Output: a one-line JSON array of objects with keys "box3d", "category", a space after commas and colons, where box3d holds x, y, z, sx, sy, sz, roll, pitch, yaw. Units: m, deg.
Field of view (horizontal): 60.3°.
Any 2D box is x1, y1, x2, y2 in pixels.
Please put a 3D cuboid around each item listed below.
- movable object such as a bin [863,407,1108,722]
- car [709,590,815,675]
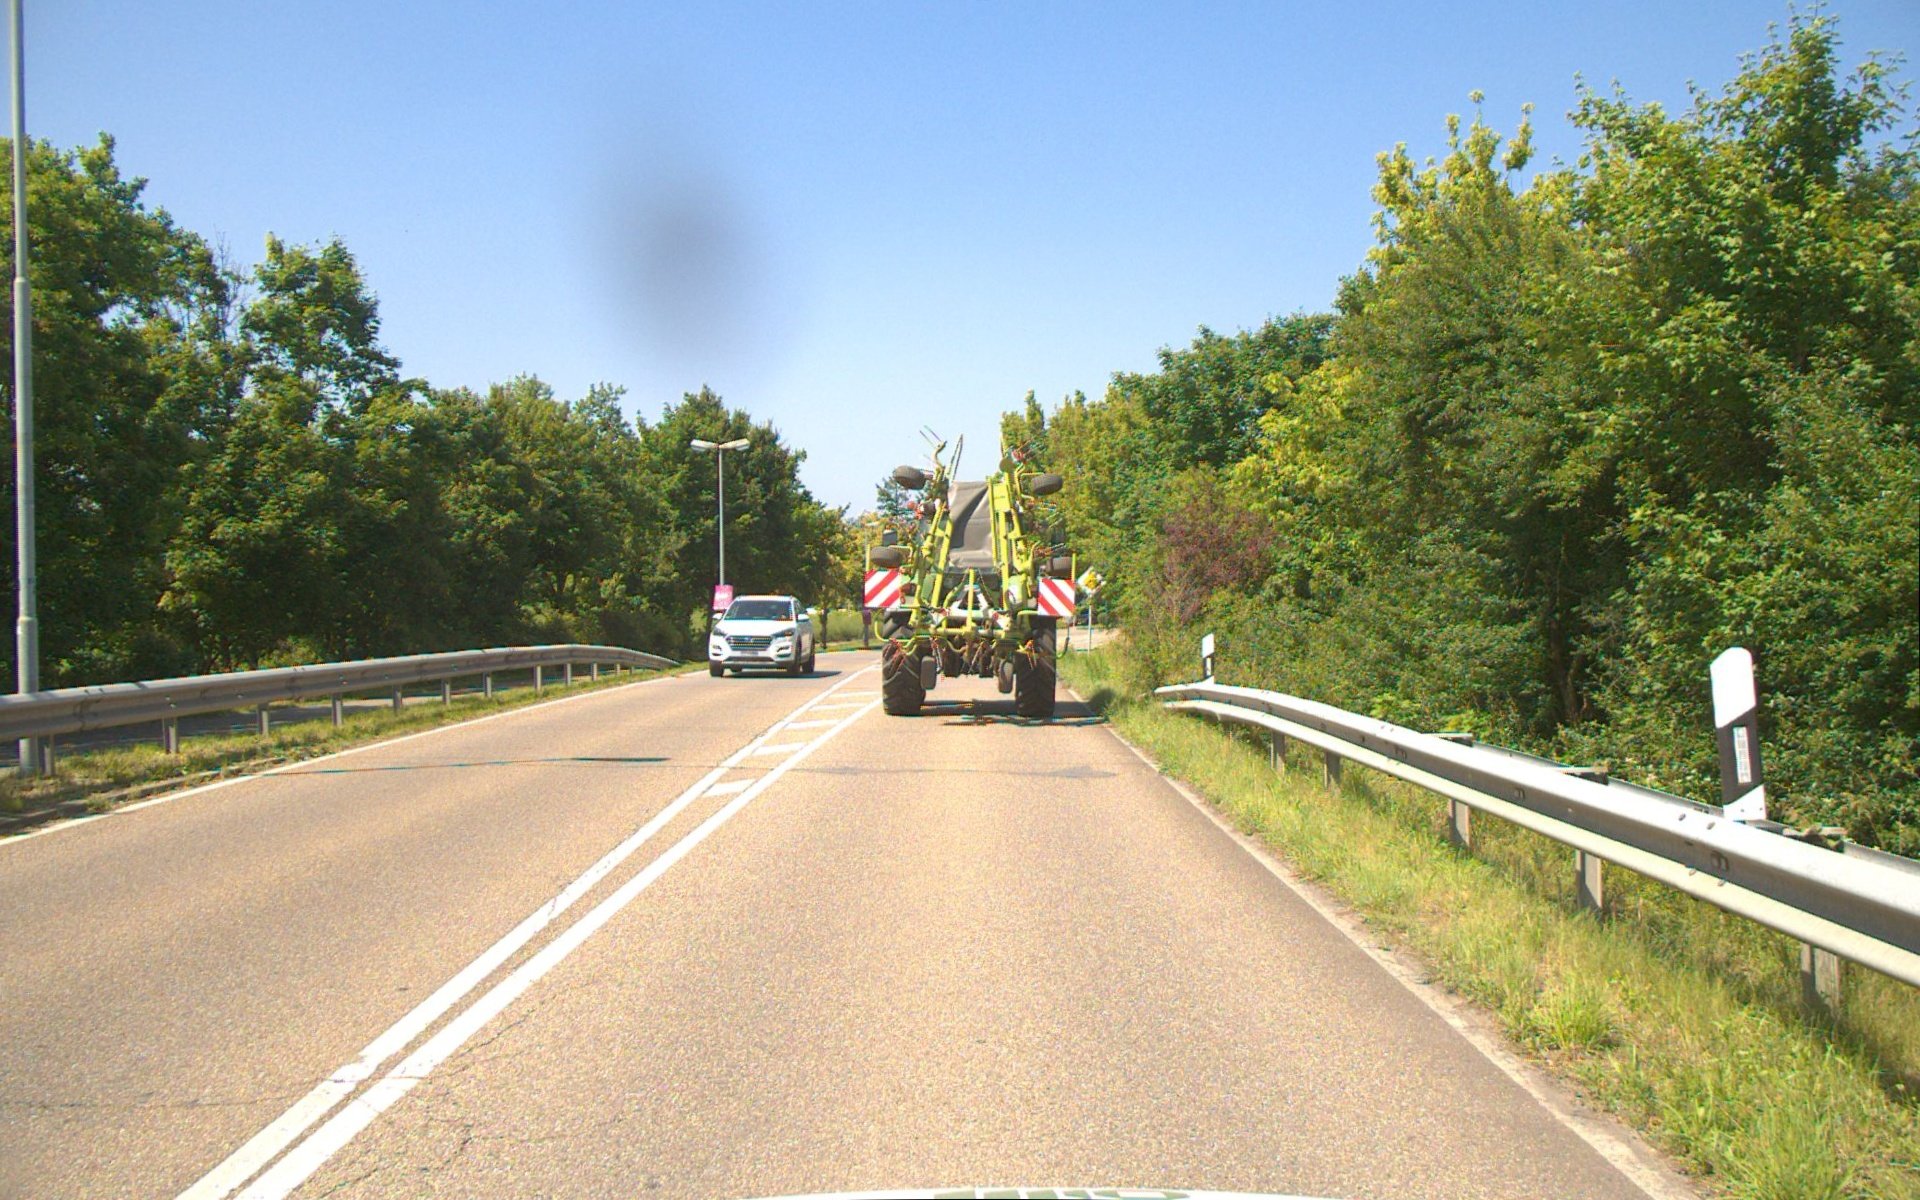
[{"box3d": [0.201, -0.407, 24.019, 2.795, 3.603, 9.698, 1, 0, -1], "category": "movable object such as a bin"}, {"box3d": [-4.139, 0.659, 35.129, 1.787, 1.668, 4.140, 1, 0, -1], "category": "car"}]
